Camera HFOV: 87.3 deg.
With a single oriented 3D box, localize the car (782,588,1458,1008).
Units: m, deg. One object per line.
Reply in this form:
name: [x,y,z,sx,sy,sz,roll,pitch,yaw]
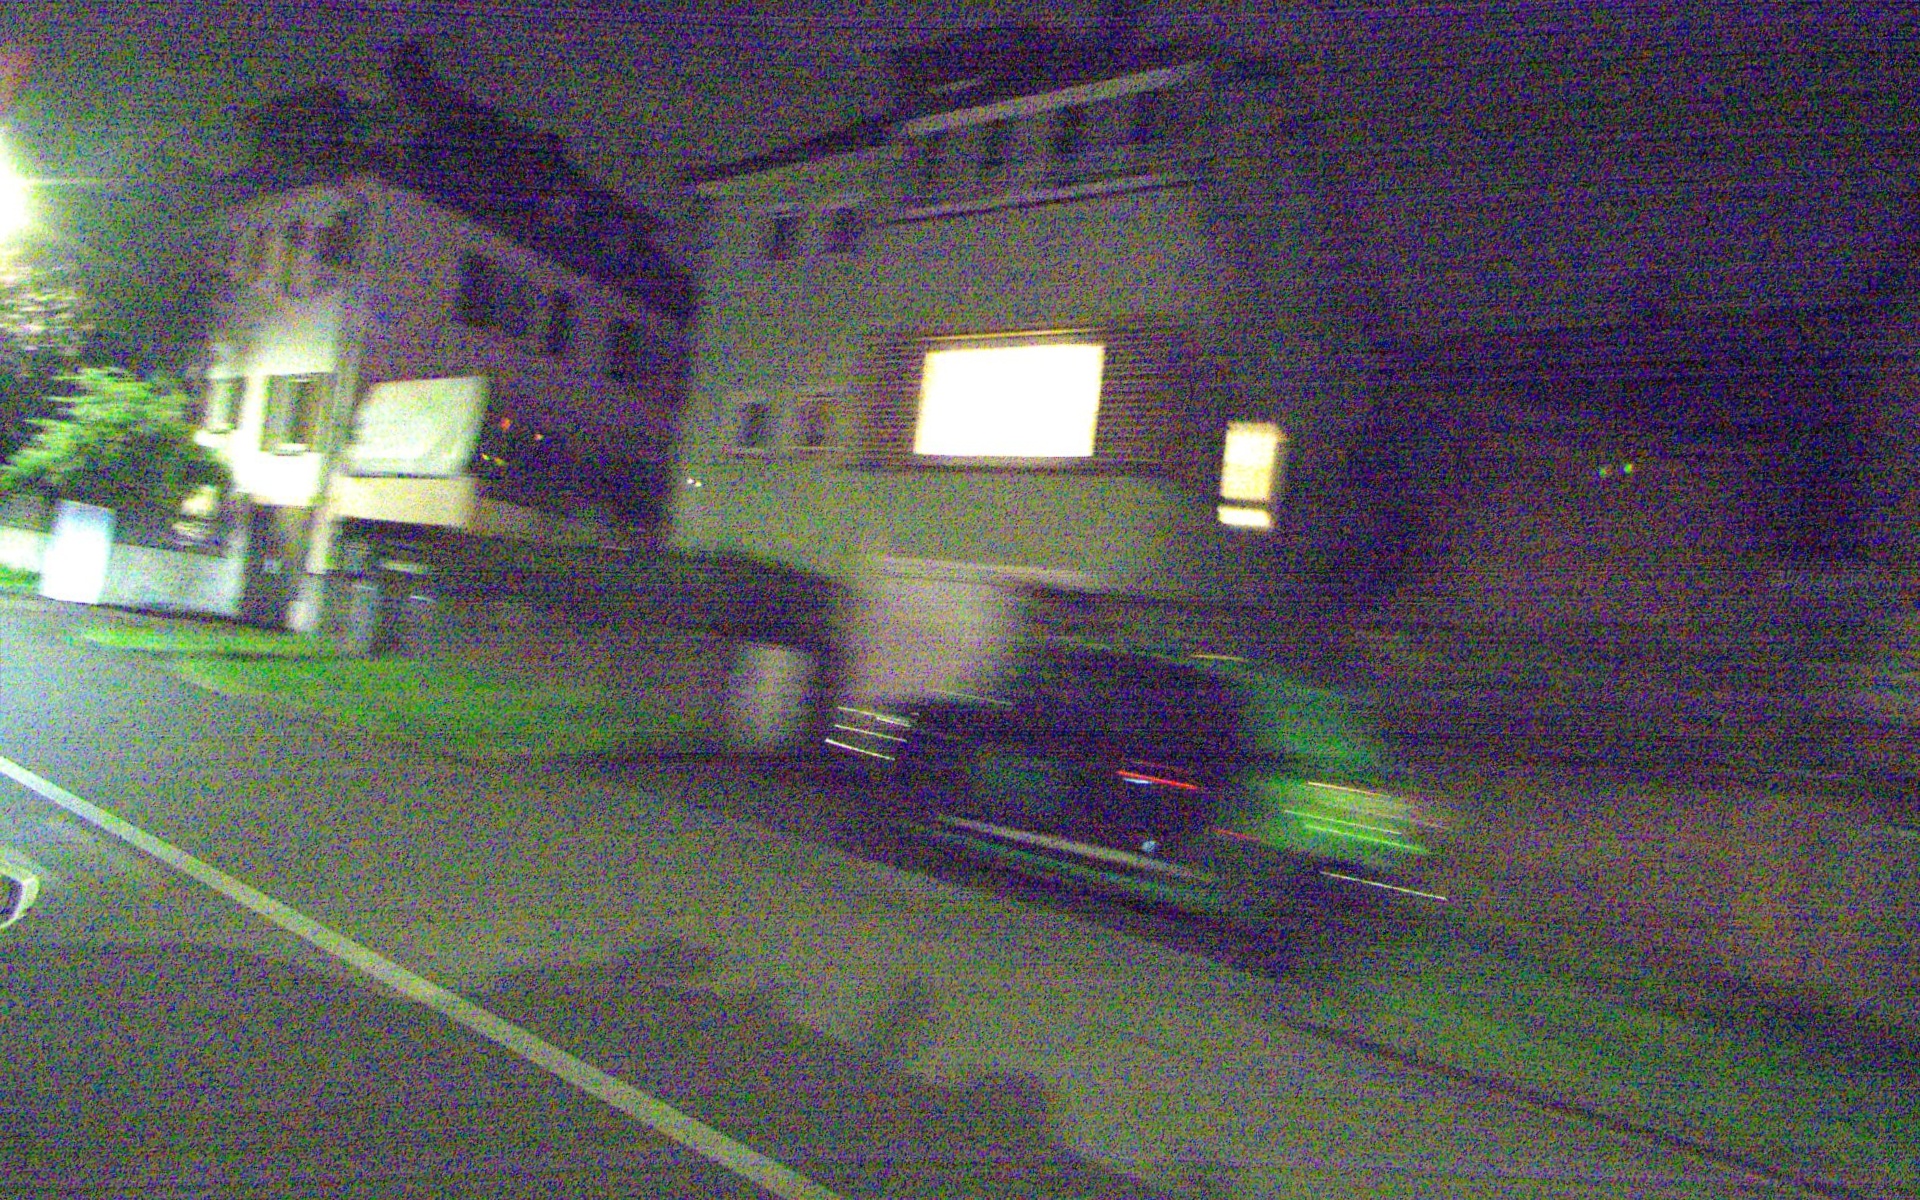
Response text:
car: [0.920,0.968,6.196,3.616,1.578,1.643,7,-2,31]
